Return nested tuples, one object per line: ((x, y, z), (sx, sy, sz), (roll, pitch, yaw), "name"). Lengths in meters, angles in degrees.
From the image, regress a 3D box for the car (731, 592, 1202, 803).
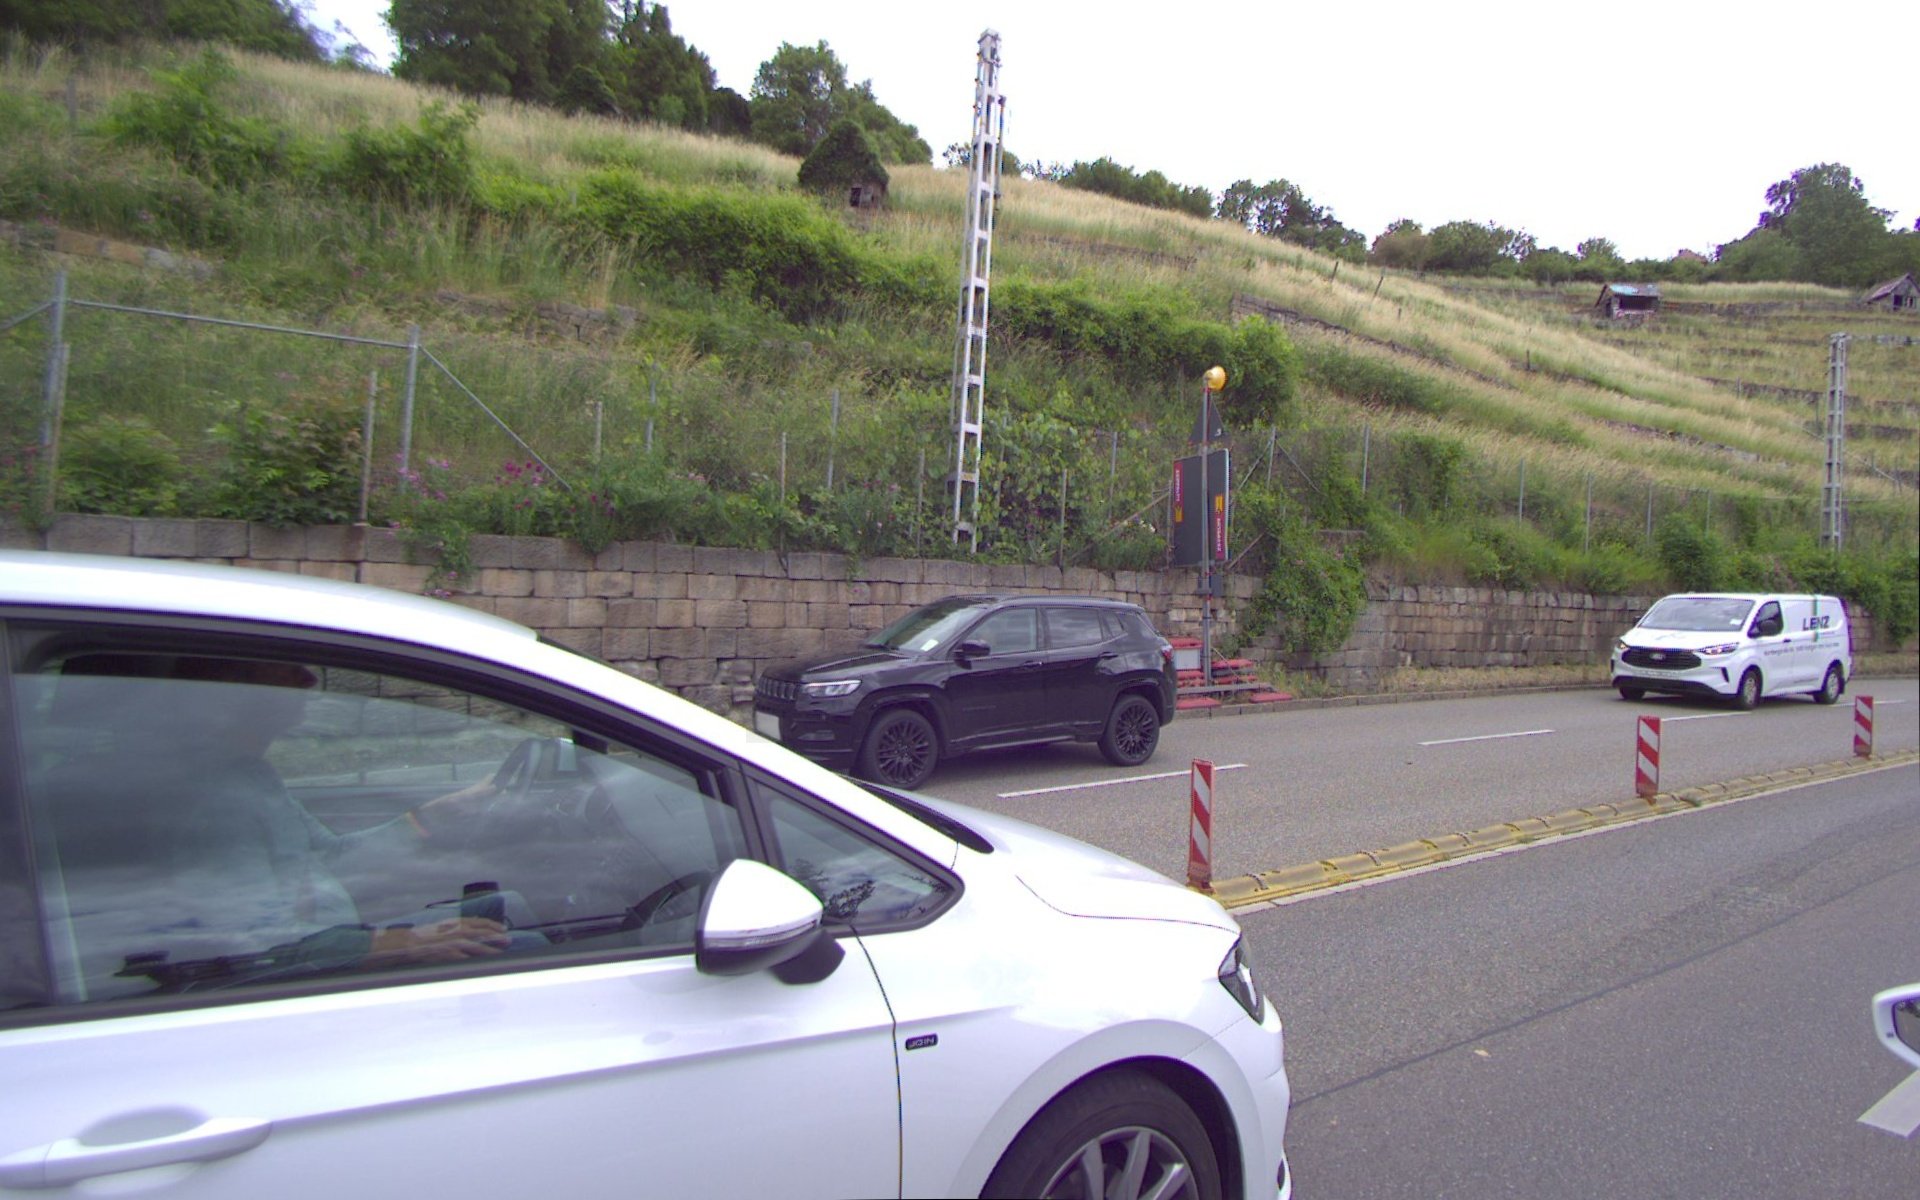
((0.151, 0.768, 9.791), (4.300, 1.645, 1.854), (0, 0, -32), "car")

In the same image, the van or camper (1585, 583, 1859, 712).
((13.881, 0.787, 18.245), (4.903, 2.043, 2.138), (1, 1, -29), "van or camper")

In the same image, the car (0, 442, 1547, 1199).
((-1.090, 0.607, 1.961), (4.301, 1.601, 1.813), (1, 2, -28), "car")
